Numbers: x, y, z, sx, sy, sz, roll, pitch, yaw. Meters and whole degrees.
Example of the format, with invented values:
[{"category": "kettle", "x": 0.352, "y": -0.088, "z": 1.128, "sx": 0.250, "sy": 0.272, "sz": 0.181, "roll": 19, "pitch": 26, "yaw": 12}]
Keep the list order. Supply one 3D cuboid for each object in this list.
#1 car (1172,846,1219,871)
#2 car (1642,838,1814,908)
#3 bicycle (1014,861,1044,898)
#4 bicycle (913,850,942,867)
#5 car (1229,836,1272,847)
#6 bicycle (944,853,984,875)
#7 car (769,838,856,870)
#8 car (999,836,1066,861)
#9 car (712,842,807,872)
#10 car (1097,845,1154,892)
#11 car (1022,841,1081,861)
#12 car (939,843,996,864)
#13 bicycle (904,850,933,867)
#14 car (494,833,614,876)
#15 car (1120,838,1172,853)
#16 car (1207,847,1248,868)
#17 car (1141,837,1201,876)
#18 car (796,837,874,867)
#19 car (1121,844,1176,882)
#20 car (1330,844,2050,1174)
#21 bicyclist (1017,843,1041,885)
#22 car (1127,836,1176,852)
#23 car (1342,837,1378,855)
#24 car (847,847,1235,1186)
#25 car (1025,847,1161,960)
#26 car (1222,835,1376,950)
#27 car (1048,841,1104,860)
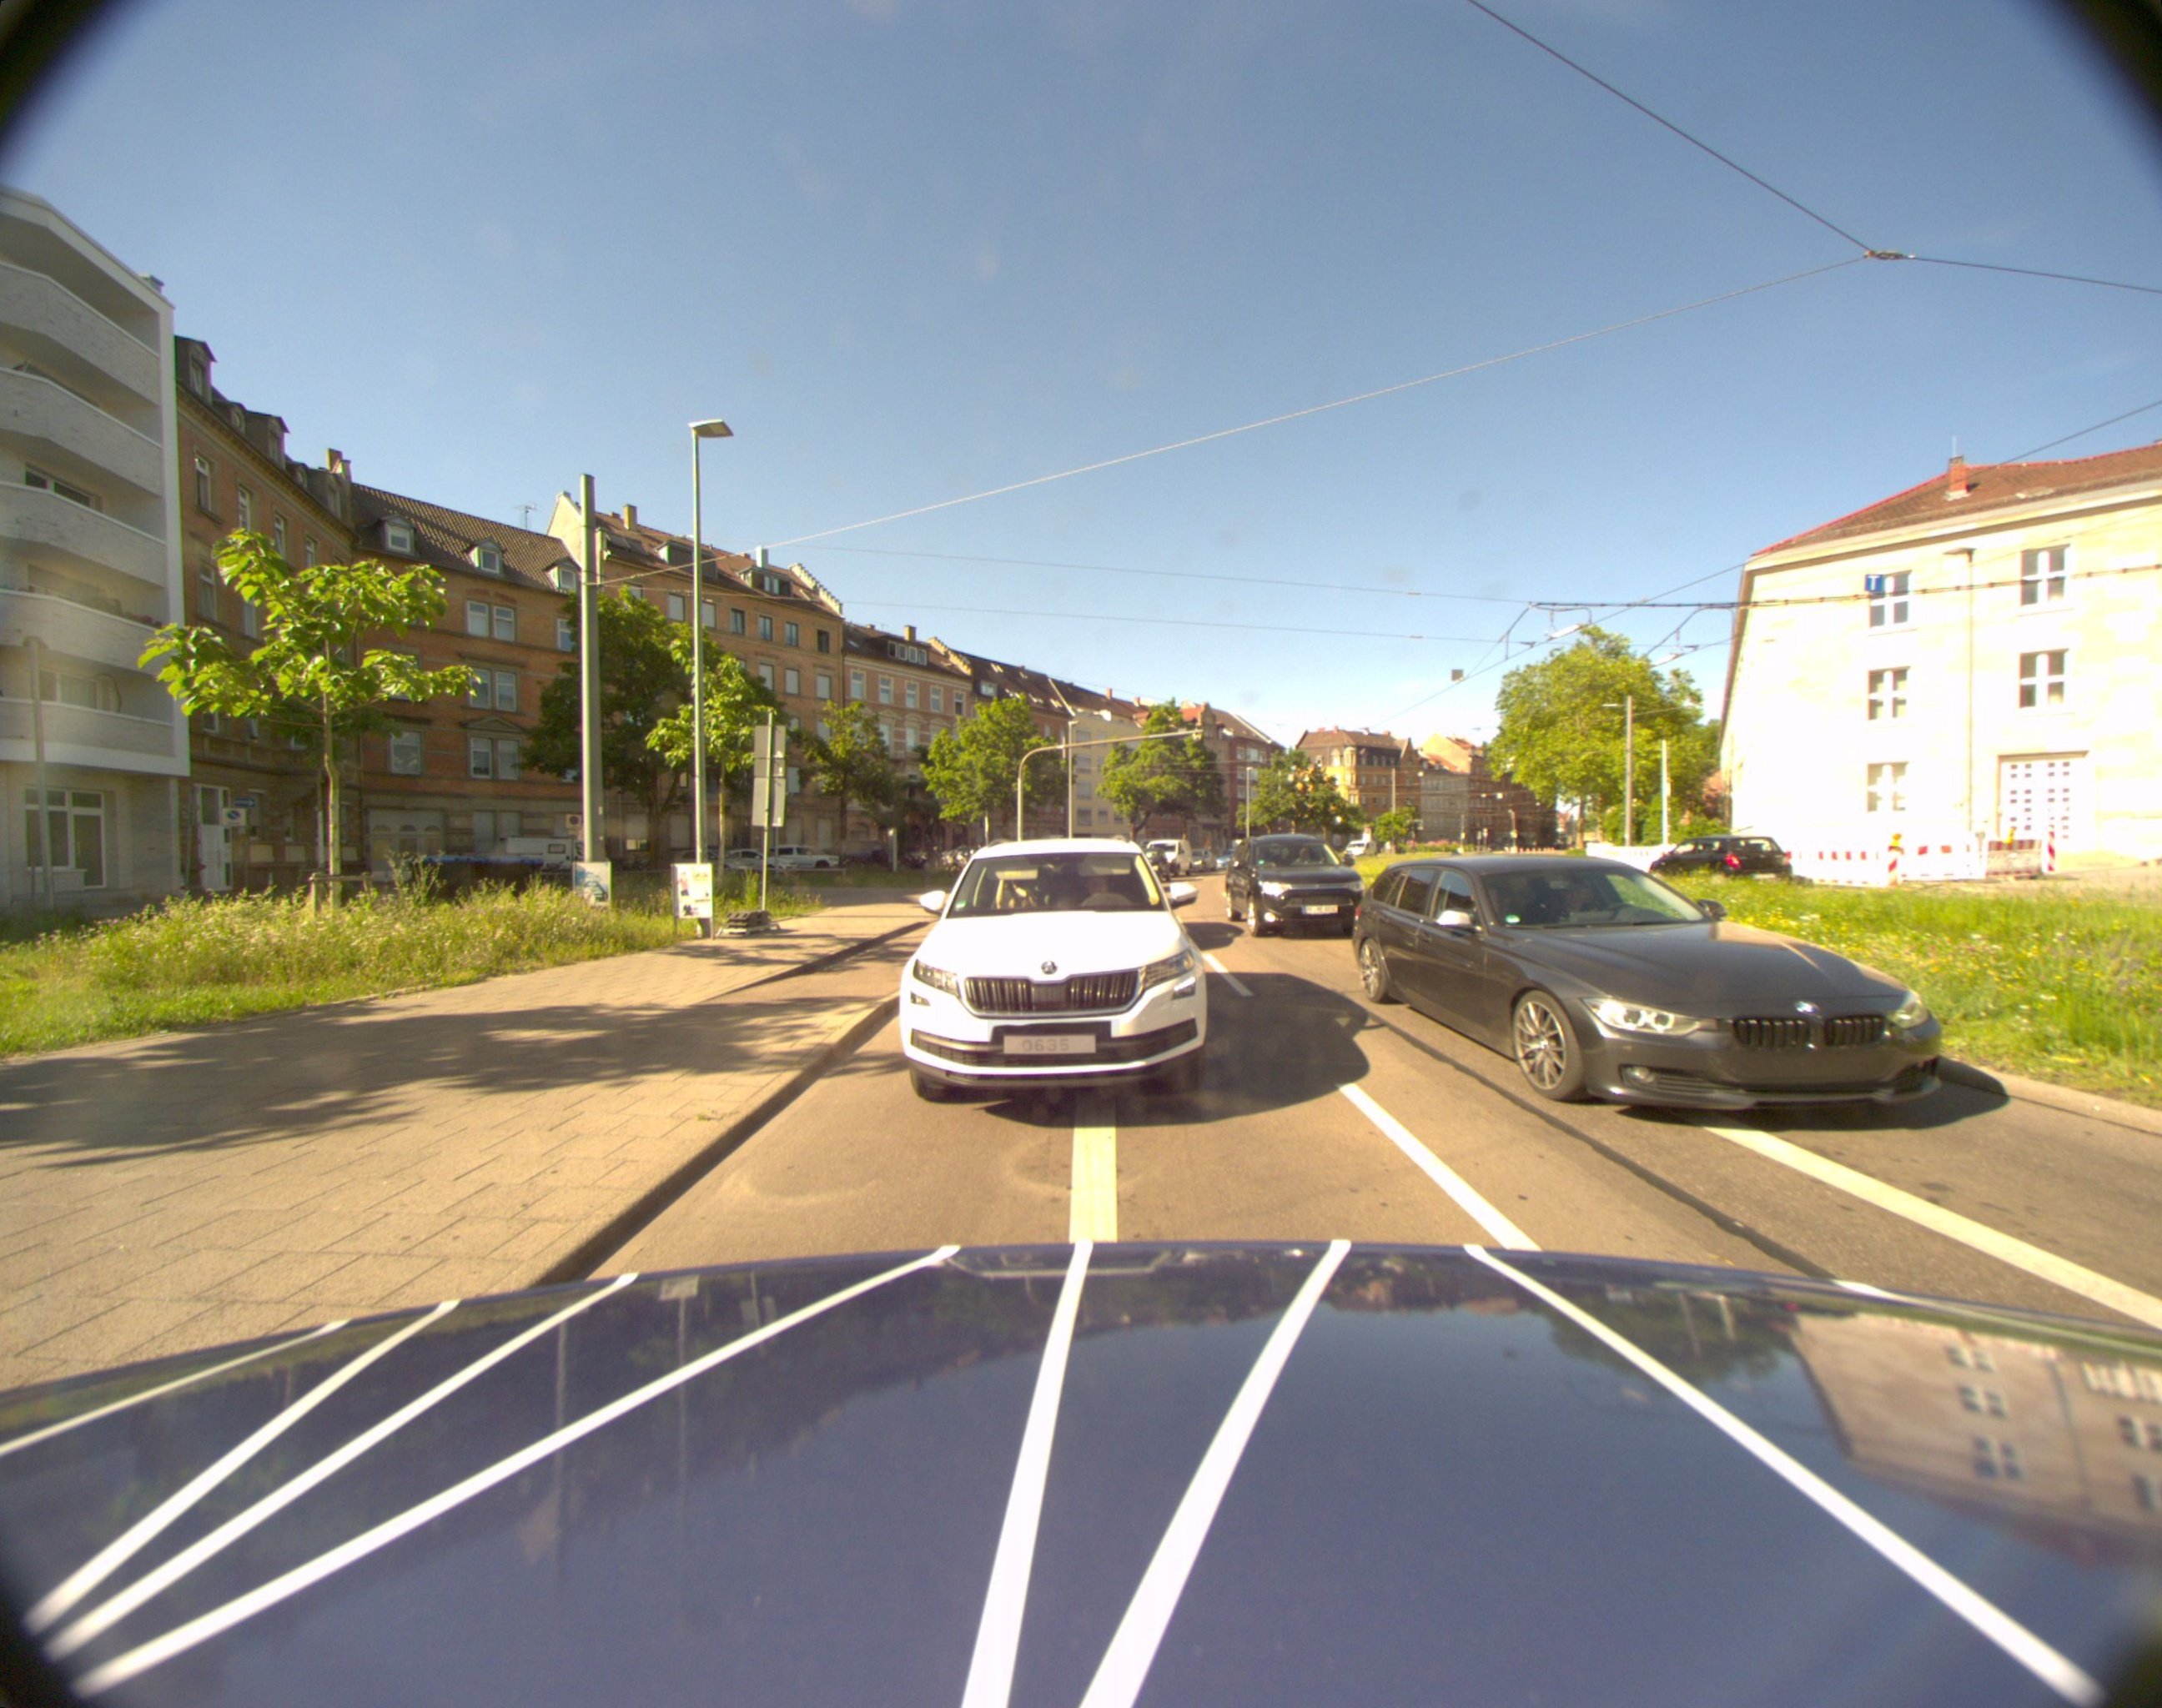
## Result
[{"category": "car", "x": 7.080, "y": 0.241, "z": 46.671, "sx": 1.870, "sy": 1.439, "sz": 3.915, "roll": 0, "pitch": 1, "yaw": 24}, {"category": "car", "x": 17.762, "y": 0.454, "z": 21.143, "sx": 1.768, "sy": 1.740, "sz": 4.002, "roll": -1, "pitch": 1, "yaw": 8}, {"category": "bicycle", "x": -1.805, "y": 0.838, "z": 25.935, "sx": 0.697, "sy": 1.099, "sz": 2.008, "roll": 0, "pitch": 3, "yaw": -13}, {"category": "bicycle", "x": -9.313, "y": 0.259, "z": 46.027, "sx": 1.757, "sy": 1.018, "sz": 0.453, "roll": 0, "pitch": 1, "yaw": 26}, {"category": "car", "x": 18.890, "y": -1.369, "z": 84.674, "sx": 4.397, "sy": 1.203, "sz": 2.000, "roll": -1, "pitch": 1, "yaw": 3}, {"category": "bicycle", "x": -5.644, "y": 0.468, "z": 36.687, "sx": 1.764, "sy": 1.018, "sz": 0.567, "roll": -1, "pitch": 1, "yaw": -26}, {"category": "car", "x": -14.590, "y": -0.008, "z": 41.471, "sx": 3.996, "sy": 1.652, "sz": 2.000, "roll": -1, "pitch": 1, "yaw": 3}, {"category": "car", "x": -3.556, "y": -0.381, "z": 56.196, "sx": 4.789, "sy": 1.761, "sz": 1.732, "roll": -1, "pitch": 1, "yaw": 3}, {"category": "car", "x": -16.539, "y": 0.148, "z": 39.193, "sx": 3.996, "sy": 1.455, "sz": 2.000, "roll": -1, "pitch": 1, "yaw": 3}, {"category": "car", "x": 1.596, "y": 0.460, "z": 27.087, "sx": 1.873, "sy": 1.547, "sz": 4.000, "roll": -1, "pitch": 1, "yaw": 4}, {"category": "car", "x": -2.277, "y": -0.231, "z": 58.879, "sx": 4.397, "sy": 1.498, "sz": 2.000, "roll": -1, "pitch": 1, "yaw": 2}, {"category": "car", "x": -7.631, "y": -0.057, "z": 51.319, "sx": 3.462, "sy": 1.324, "sz": 1.732, "roll": -1, "pitch": 1, "yaw": 3}, {"category": "bicycle", "x": -9.607, "y": 0.273, "z": 45.028, "sx": 1.757, "sy": 1.018, "sz": 0.453, "roll": 0, "pitch": 1, "yaw": 26}, {"category": "car", "x": -27.020, "y": -0.004, "z": 39.102, "sx": 1.994, "sy": 2.100, "sz": 4.652, "roll": 0, "pitch": 1, "yaw": 40}, {"category": "car", "x": 5.889, "y": -0.767, "z": 68.568, "sx": 4.393, "sy": 1.227, "sz": 2.002, "roll": -1, "pitch": 1, "yaw": 13}, {"category": "car", "x": 10.349, "y": 0.211, "z": 53.323, "sx": 1.826, "sy": 1.377, "sz": 4.662, "roll": 0, "pitch": 1, "yaw": 24}, {"category": "car", "x": 4.936, "y": 0.096, "z": 41.064, "sx": 1.870, "sy": 1.970, "sz": 4.662, "roll": 0, "pitch": 1, "yaw": 24}, {"category": "car", "x": -14.719, "y": -0.133, "z": 45.599, "sx": 3.996, "sy": 1.652, "sz": 2.000, "roll": -1, "pitch": 1, "yaw": 3}, {"category": "car", "x": 3.163, "y": 0.387, "z": 34.874, "sx": 1.871, "sy": 1.605, "sz": 3.912, "roll": -1, "pitch": 1, "yaw": 15}, {"category": "car", "x": 3.449, "y": 0.675, "z": 5.635, "sx": 1.840, "sy": 1.422, "sz": 4.483, "roll": -2, "pitch": 1, "yaw": 2}, {"category": "bicyclist", "x": -1.782, "y": 0.333, "z": 25.832, "sx": 0.697, "sy": 1.370, "sz": 0.737, "roll": 0, "pitch": 3, "yaw": -13}, {"category": "car", "x": 6.648, "y": -0.920, "z": 71.423, "sx": 4.393, "sy": 1.453, "sz": 2.002, "roll": -1, "pitch": 1, "yaw": 13}, {"category": "car", "x": 25.268, "y": -0.711, "z": 68.773, "sx": 1.869, "sy": 1.547, "sz": 4.008, "roll": 0, "pitch": 1, "yaw": 39}, {"category": "car", "x": -0.164, "y": 0.782, "z": 5.882, "sx": 1.873, "sy": 1.621, "sz": 4.337, "roll": -1, "pitch": 1, "yaw": 1}, {"category": "car", "x": 0.194, "y": 0.676, "z": 12.639, "sx": 1.873, "sy": 1.547, "sz": 3.999, "roll": -1, "pitch": 1, "yaw": 1}, {"category": "car", "x": 3.668, "y": 0.548, "z": 13.570, "sx": 1.768, "sy": 1.675, "sz": 4.328, "roll": -2, "pitch": 1, "yaw": 4}, {"category": "car", "x": -0.345, "y": -0.316, "z": 61.358, "sx": 4.397, "sy": 1.453, "sz": 2.000, "roll": -1, "pitch": 1, "yaw": 2}]
